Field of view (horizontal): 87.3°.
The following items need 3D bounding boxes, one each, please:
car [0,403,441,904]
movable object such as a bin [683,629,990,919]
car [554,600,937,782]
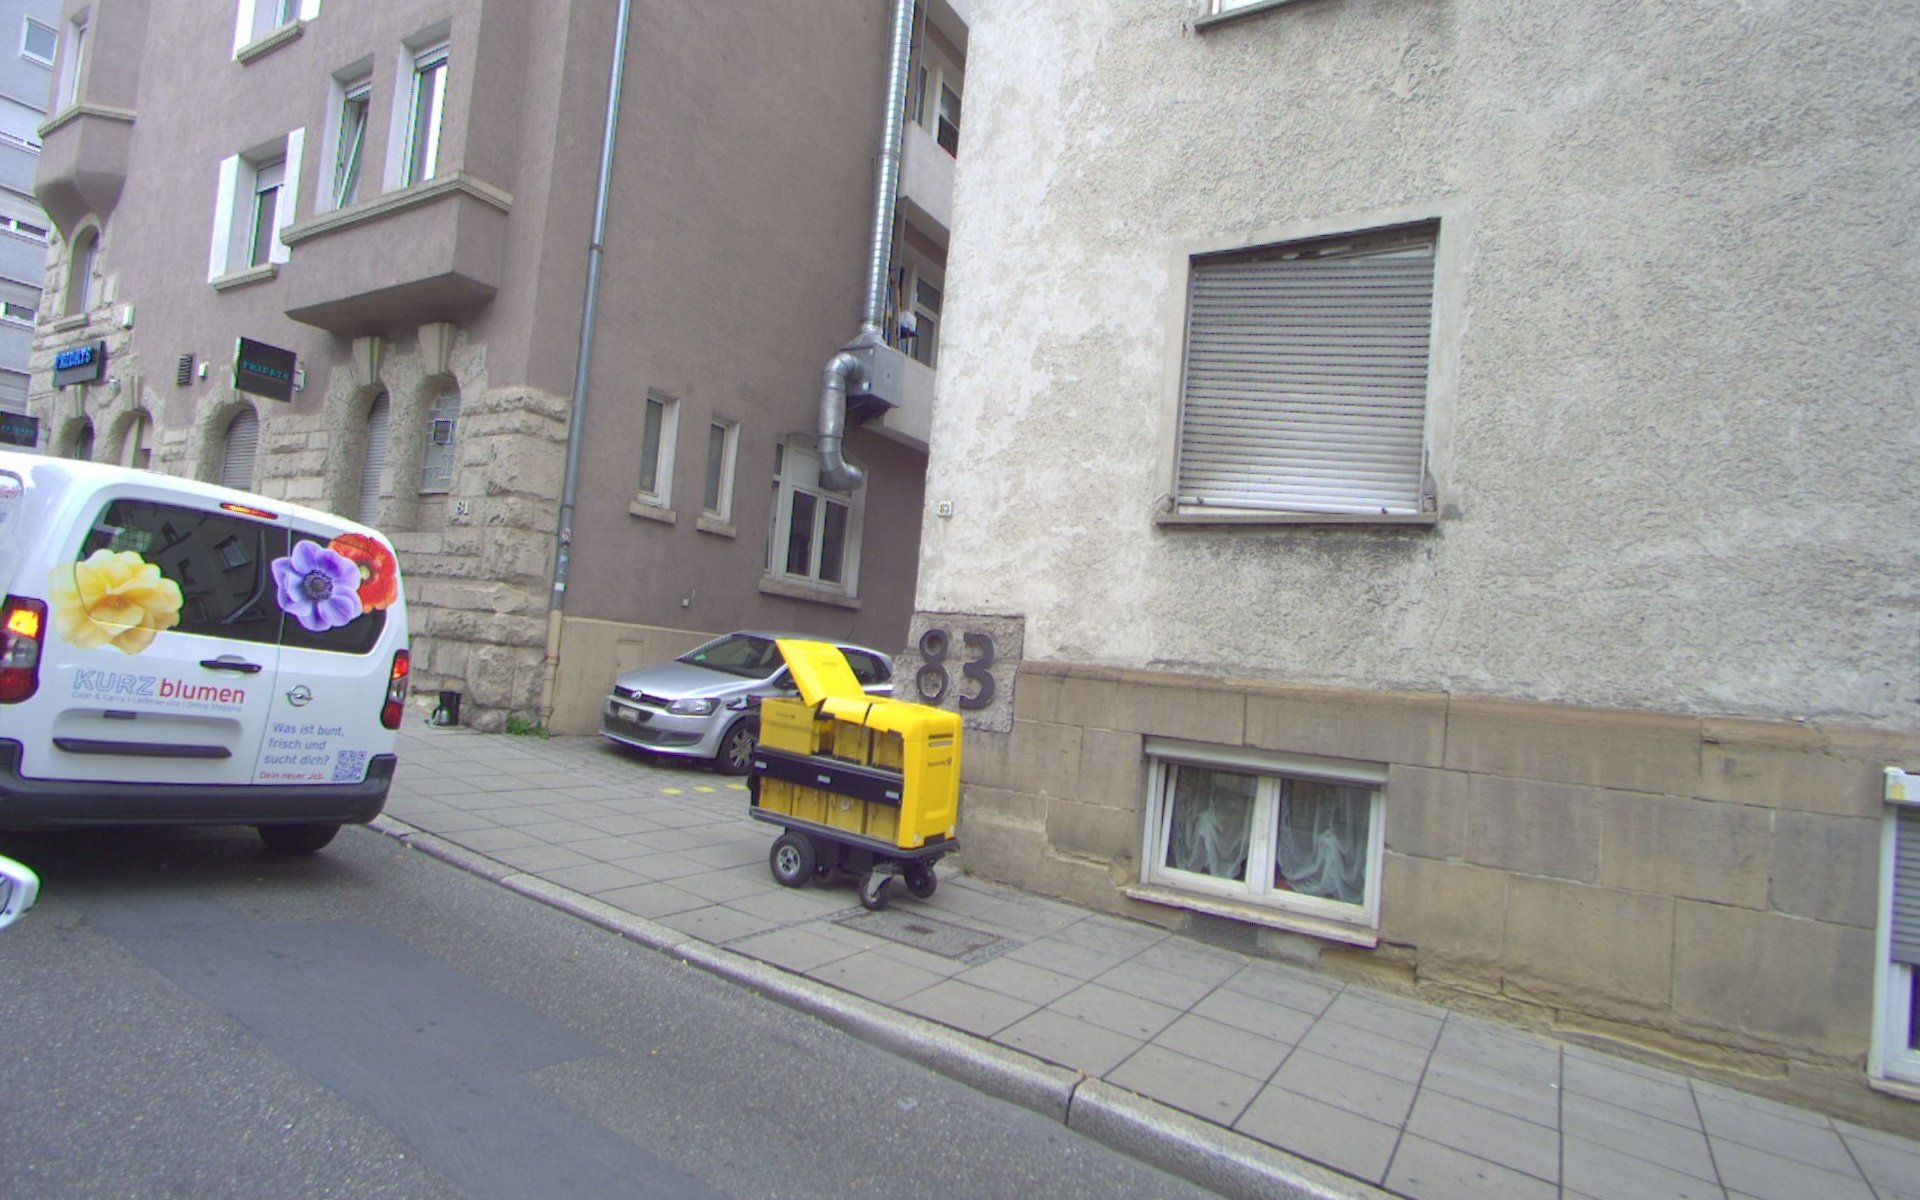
[{"bbox_3d":[-5.196,0.136,5.670,4.944,1.844,1.852,5,-4,36],"label":"car"},{"bbox_3d":[-0.785,1.003,6.273,1.665,1.437,0.720,6,-1,30],"label":"movable object such as a bin"},{"bbox_3d":[-2.172,1.055,11.265,1.770,1.419,3.996,9,-1,32],"label":"car"}]
